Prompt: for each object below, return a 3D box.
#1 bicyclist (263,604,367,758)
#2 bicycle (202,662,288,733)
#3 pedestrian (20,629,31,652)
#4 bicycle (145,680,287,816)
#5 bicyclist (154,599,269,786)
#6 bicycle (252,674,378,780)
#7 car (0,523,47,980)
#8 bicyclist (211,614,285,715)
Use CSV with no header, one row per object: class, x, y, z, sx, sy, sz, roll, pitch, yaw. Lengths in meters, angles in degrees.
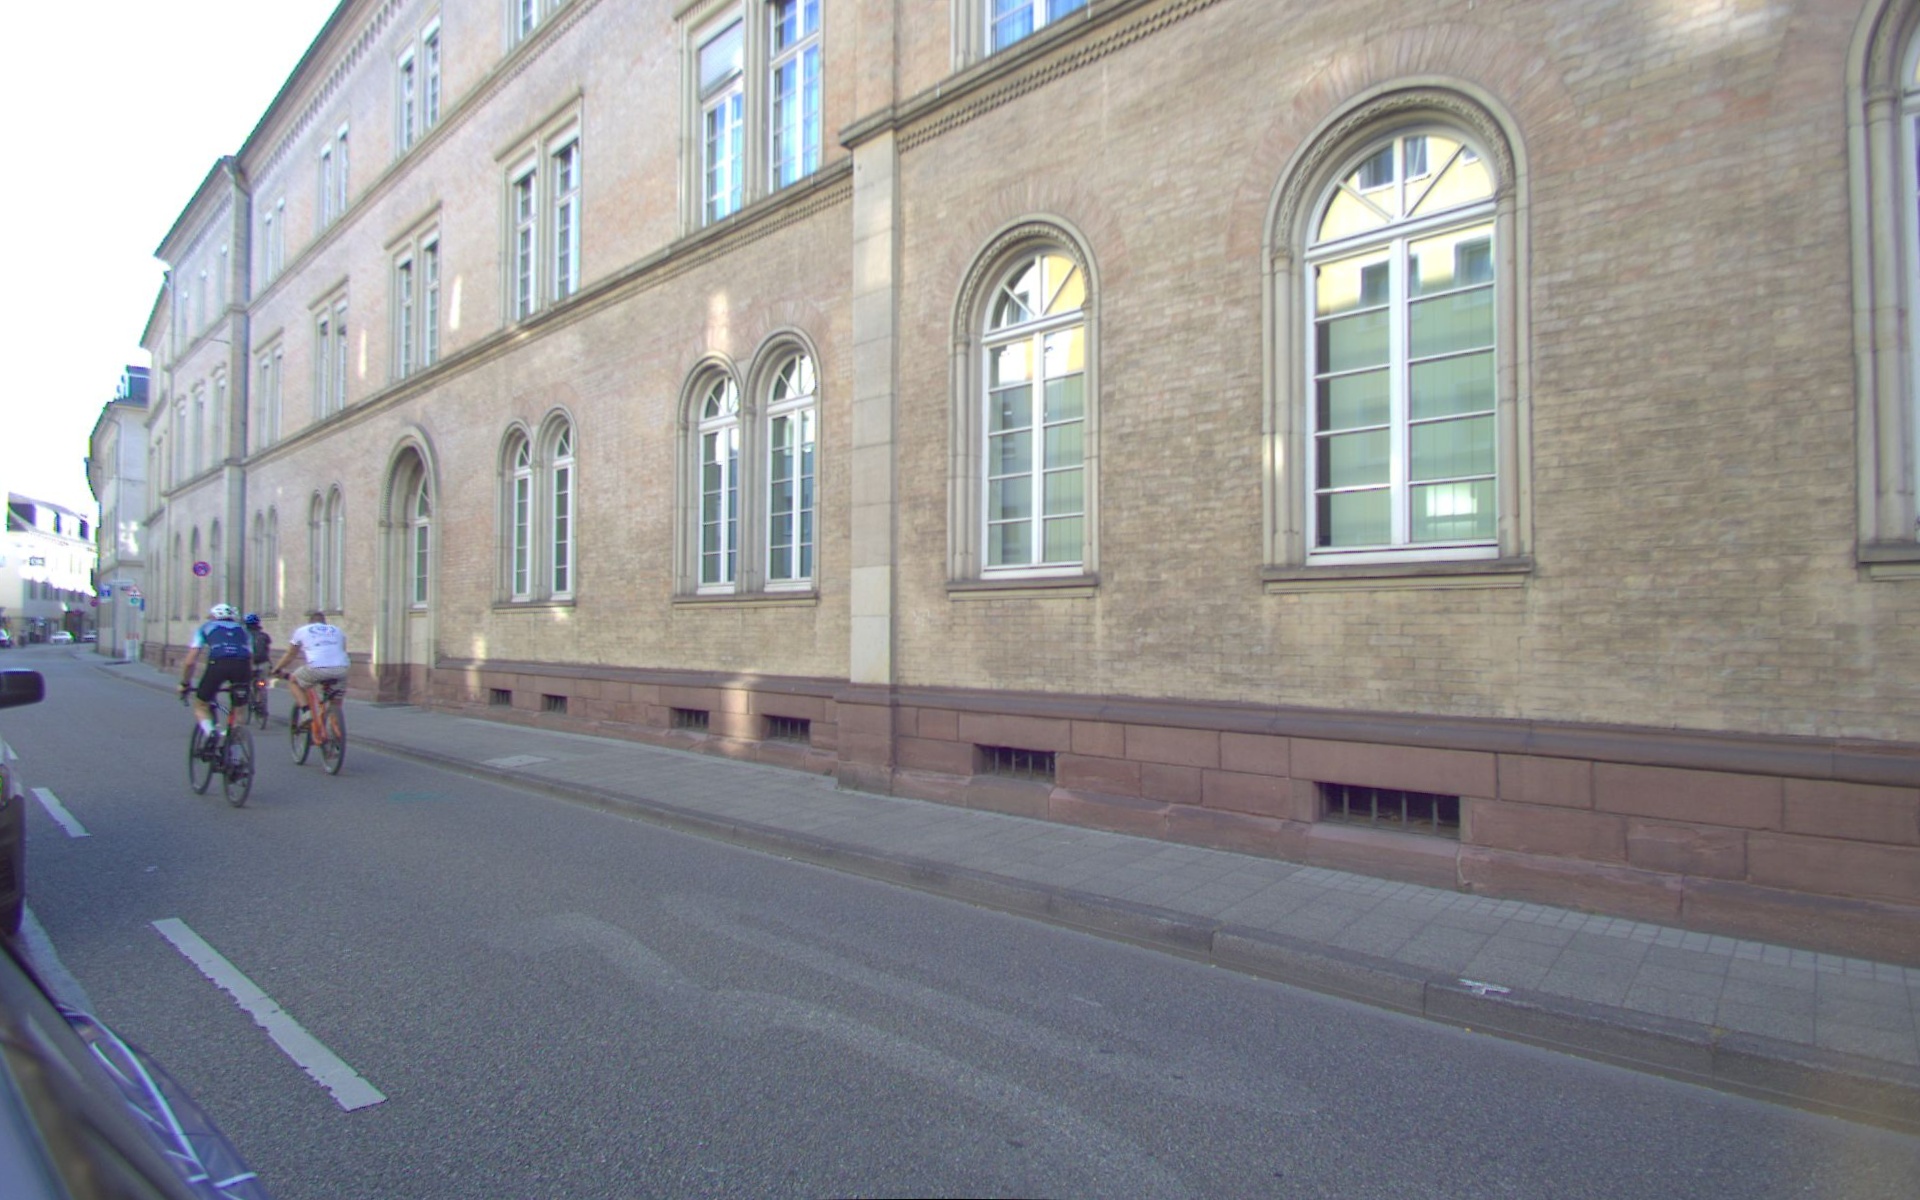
bicyclist,-6.996,0.861,10.972,0.960,1.579,0.643,-2,-5,42
bicycle,-11.192,1.494,15.821,1.875,1.014,0.643,-2,-5,42
pedestrian,-80.704,3.525,87.386,0.635,1.964,0.779,2,-3,-40
bicycle,-6.459,1.224,8.753,1.755,1.014,0.539,-2,-5,40
bicyclist,-6.560,0.787,8.867,0.869,1.545,0.539,-2,-5,40
bicycle,-6.998,1.329,10.946,1.806,1.014,0.643,-2,-5,42
car,-6.407,0.656,5.285,5.338,1.850,1.795,-2,-3,41
bicyclist,-11.122,1.002,15.802,1.111,1.520,0.643,-2,-5,42
